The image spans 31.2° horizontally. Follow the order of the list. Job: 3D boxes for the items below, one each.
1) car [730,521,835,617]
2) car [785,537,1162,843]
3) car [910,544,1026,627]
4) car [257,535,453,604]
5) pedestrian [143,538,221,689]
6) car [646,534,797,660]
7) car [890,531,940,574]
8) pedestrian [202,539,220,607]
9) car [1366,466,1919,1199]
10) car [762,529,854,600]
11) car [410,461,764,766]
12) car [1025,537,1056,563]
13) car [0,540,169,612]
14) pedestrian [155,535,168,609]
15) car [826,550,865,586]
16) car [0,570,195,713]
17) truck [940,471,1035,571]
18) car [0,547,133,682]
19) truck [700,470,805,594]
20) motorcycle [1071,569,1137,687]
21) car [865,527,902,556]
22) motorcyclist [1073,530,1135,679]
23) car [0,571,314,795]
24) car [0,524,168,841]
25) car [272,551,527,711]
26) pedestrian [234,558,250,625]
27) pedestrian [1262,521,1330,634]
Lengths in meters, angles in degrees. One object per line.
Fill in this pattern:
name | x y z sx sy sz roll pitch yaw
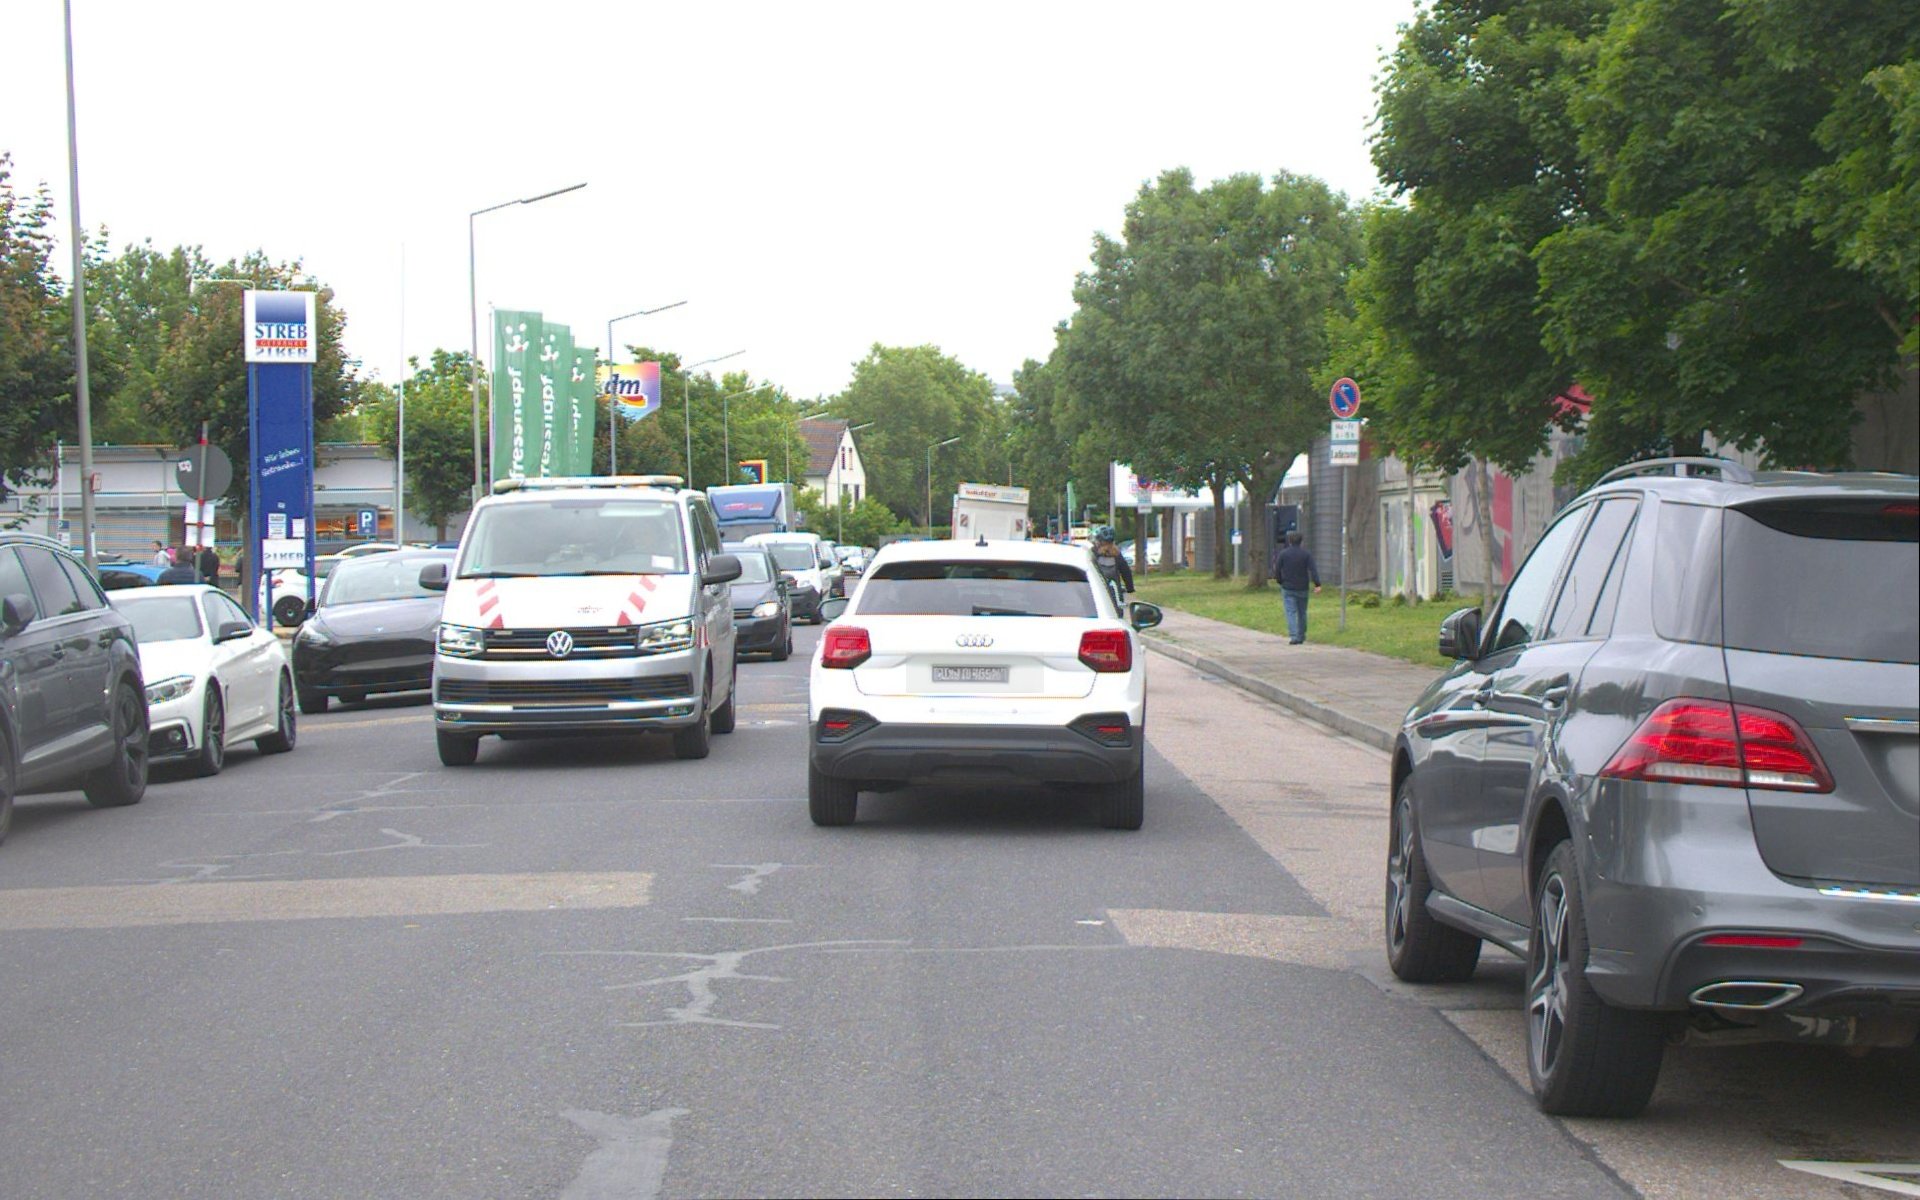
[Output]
car | -3.455 -0.632 67.491 1.689 1.755 4.135 -2 1 1
car | 0.074 0.417 19.485 1.886 1.526 4.254 1 1 0
car | 0.107 -0.276 60.690 1.937 1.362 4.000 -1 1 -1
car | -13.428 -0.695 76.442 4.134 1.458 1.899 -1 1 -6
pedestrian | -8.868 0.150 39.202 0.775 1.709 0.697 0 1 -5
car | -3.164 -0.075 46.233 1.729 1.566 3.947 -2 1 0
car | -1.793 -1.910 136.672 1.869 1.656 4.001 -1 1 -2
pedestrian | -17.363 -0.617 79.682 0.359 1.565 0.504 -1 1 -14
car | 2.475 0.547 10.390 1.908 1.735 4.480 2 1 0
car | -3.790 -0.902 86.459 1.933 1.678 4.495 -2 1 2
car | -2.631 0.071 25.403 1.927 2.007 4.955 1 0 1
car | 5.216 -3.269 223.922 1.886 1.677 4.254 1 1 0
car | -21.133 -0.578 82.145 3.987 1.663 1.876 -1 1 0
pedestrian | -18.742 -0.650 80.662 0.262 1.724 0.422 -1 1 -13
car | -5.200 -1.455 155.904 1.599 1.523 3.528 -2 1 0
car | -13.243 0.593 50.099 3.928 2.007 1.761 -1 1 -7
truck | 0.973 -2.883 128.974 3.135 3.572 10.051 1 0 -2
car | -12.463 0.148 42.781 3.873 1.615 1.928 1 1 0
truck | -6.895 -2.282 115.080 2.973 3.942 6.405 -2 1 0
motorcycle | 1.507 0.278 36.231 0.641 1.174 2.113 -1 1 1
car | -4.484 -3.406 200.462 1.774 1.649 3.749 1 0 -6
motorcyclist | 1.509 0.043 36.169 0.625 1.548 0.604 -1 1 2
car | -6.131 0.562 25.736 1.698 1.363 4.518 -5 1 -1
car | -6.059 0.478 19.535 1.865 1.685 4.729 -4 1 1
car | -5.817 0.275 36.162 1.946 1.521 4.403 -1 1 0
pedestrian | -16.754 -0.206 80.187 0.330 1.565 0.504 -1 1 -14
pedestrian | 4.929 -0.335 50.488 0.919 1.629 0.852 1 0 2
